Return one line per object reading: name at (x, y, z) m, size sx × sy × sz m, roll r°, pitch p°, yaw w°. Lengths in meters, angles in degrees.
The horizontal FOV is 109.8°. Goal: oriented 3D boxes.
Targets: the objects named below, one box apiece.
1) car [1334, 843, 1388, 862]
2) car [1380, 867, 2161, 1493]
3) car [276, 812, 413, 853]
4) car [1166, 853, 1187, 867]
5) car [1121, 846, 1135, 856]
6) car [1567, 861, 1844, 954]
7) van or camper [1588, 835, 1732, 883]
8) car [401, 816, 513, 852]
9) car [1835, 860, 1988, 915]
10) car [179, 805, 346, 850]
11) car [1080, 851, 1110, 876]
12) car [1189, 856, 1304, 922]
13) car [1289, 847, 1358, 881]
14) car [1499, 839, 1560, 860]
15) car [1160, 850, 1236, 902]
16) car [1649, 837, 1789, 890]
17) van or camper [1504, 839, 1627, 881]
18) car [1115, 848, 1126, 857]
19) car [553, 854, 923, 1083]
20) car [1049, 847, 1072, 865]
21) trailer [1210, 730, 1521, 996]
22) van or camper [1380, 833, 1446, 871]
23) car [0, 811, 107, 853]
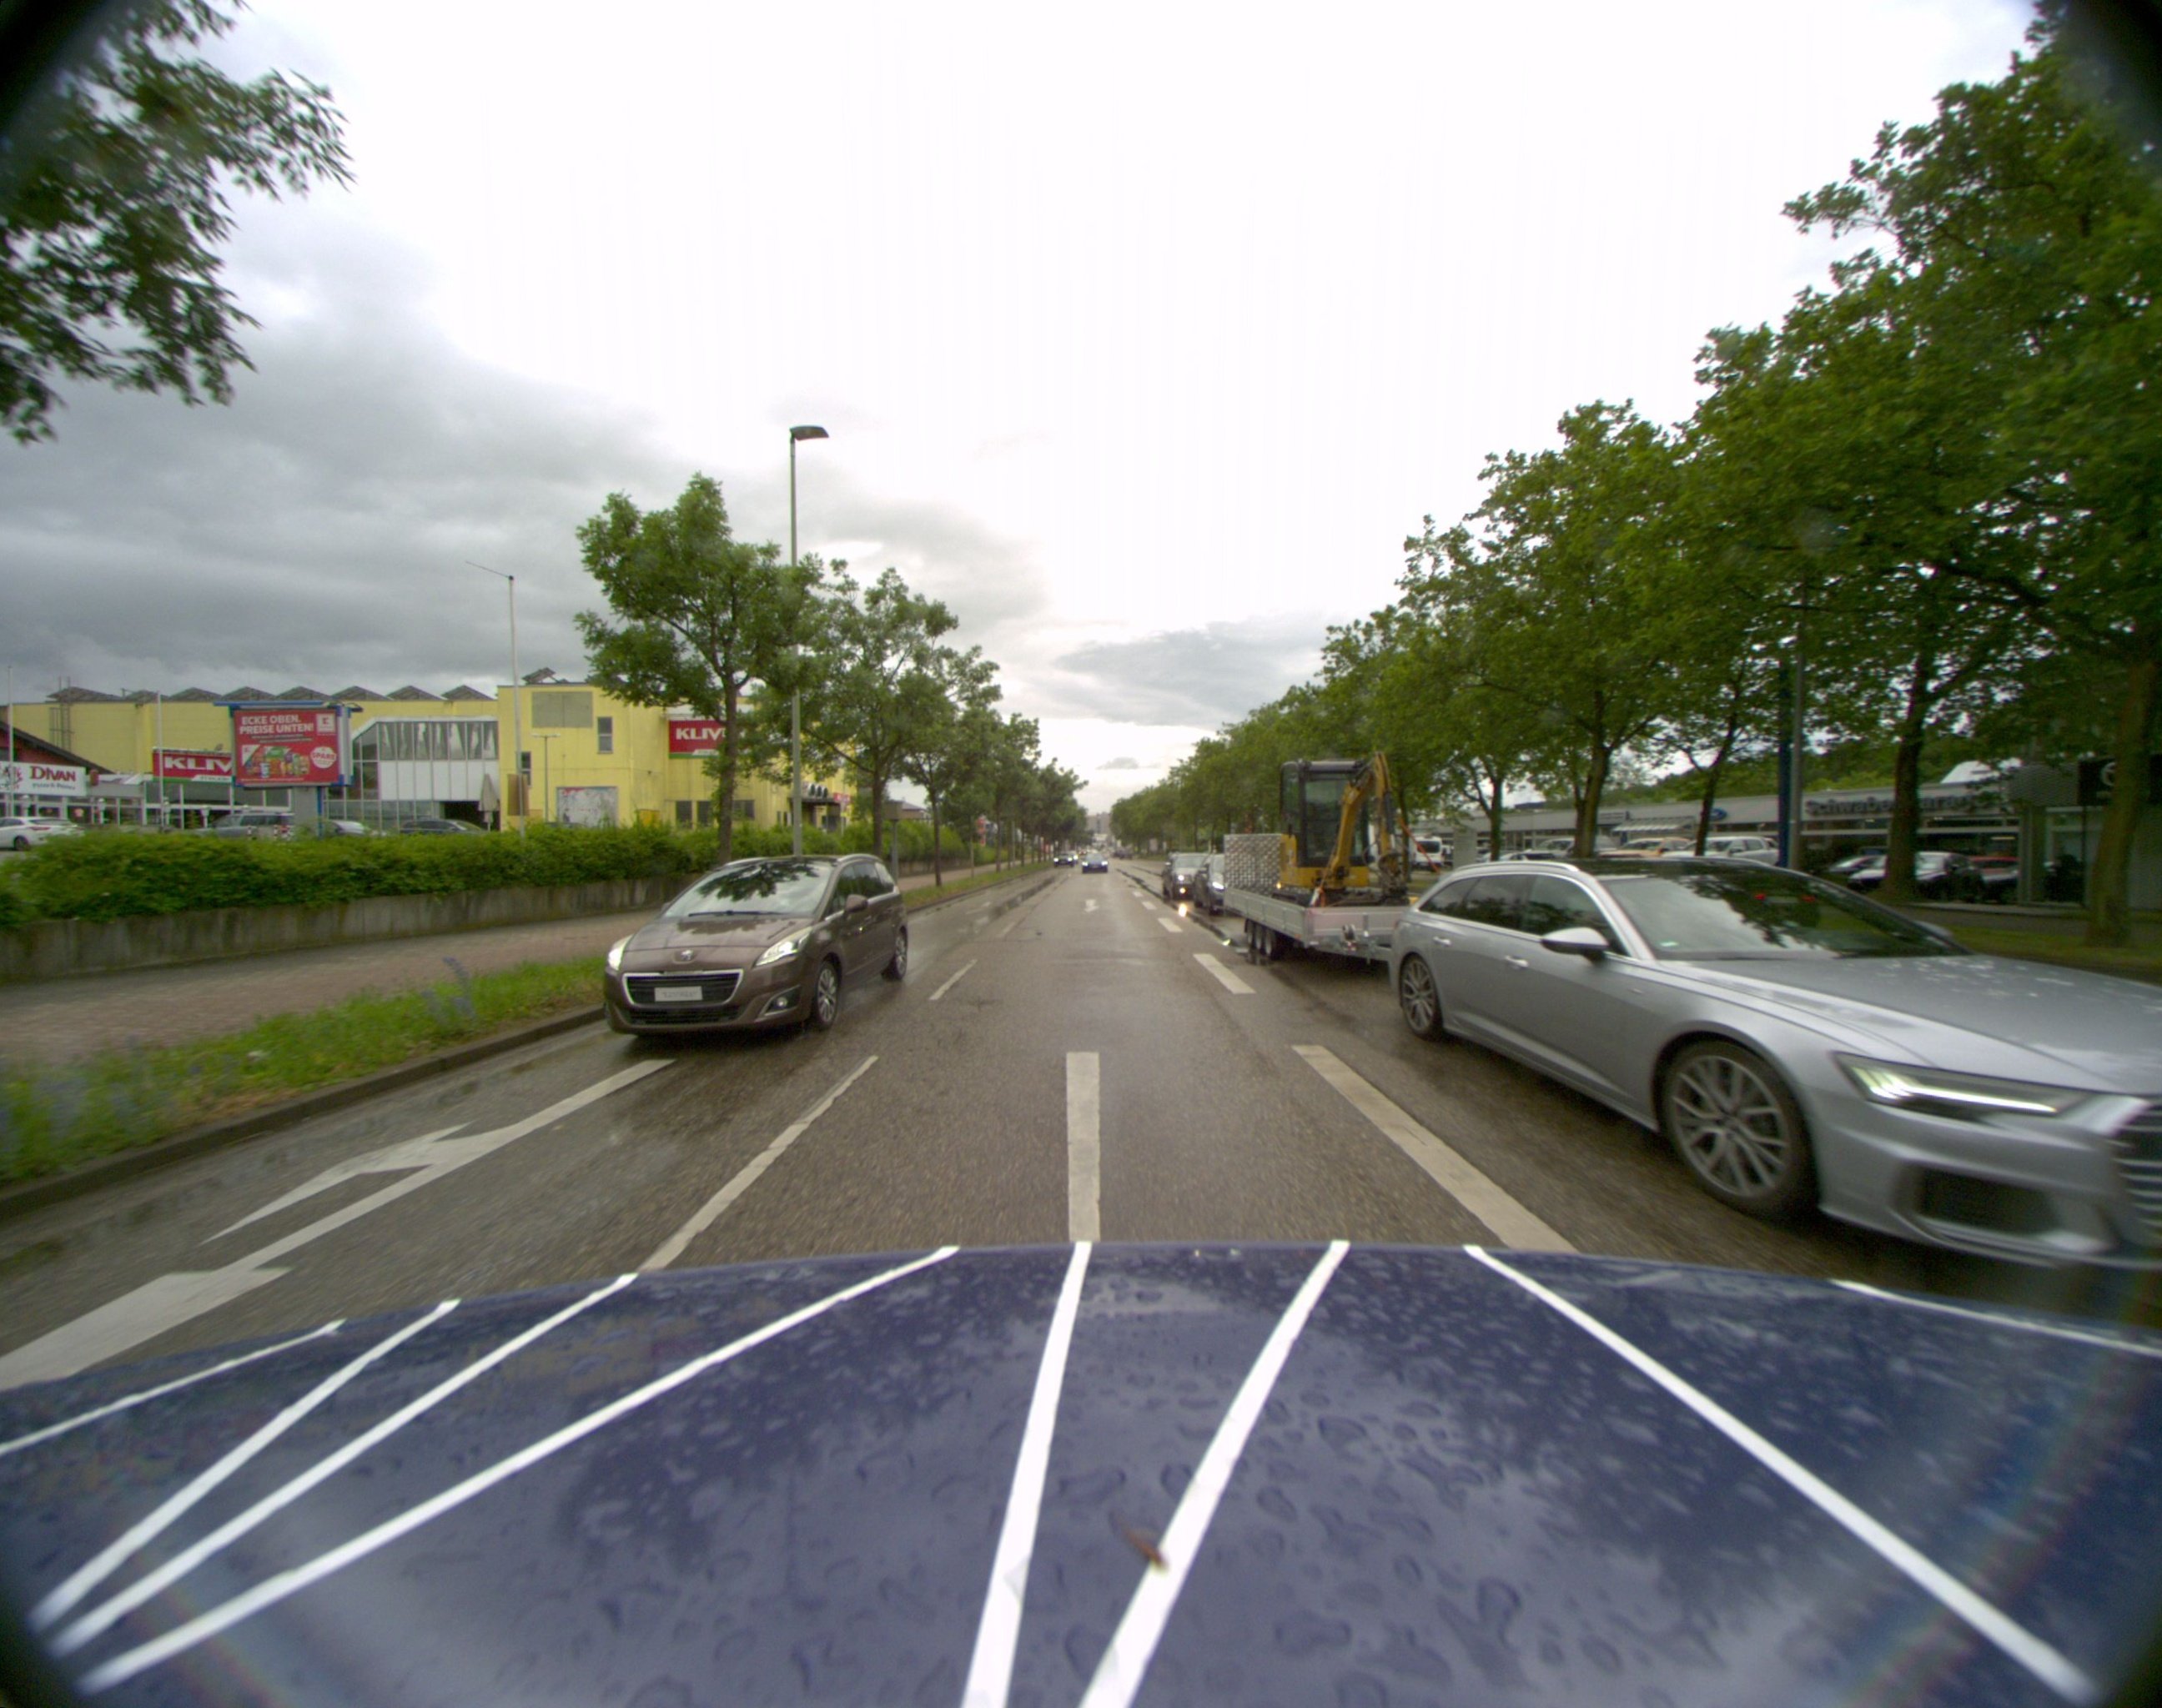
car at (30.406, -0.195, 82.612) m, size 5.058 × 2.002 × 2.129 m, roll 0°, pitch 1°, yaw -1°
car at (3.480, 0.865, 4.288) m, size 1.770 × 1.450 × 4.780 m, roll 0°, pitch 1°, yaw 1°
car at (-32.174, -0.916, 33.276) m, size 3.997 × 1.768 × 2.000 m, roll 0°, pitch 1°, yaw -1°
car at (10.605, 0.624, 84.298) m, size 1.741 × 1.421 × 4.537 m, roll 0°, pitch 1°, yaw 0°
car at (7.383, -0.490, 119.088) m, size 1.671 × 1.454 × 4.179 m, roll 0°, pitch 1°, yaw -3°
car at (11.465, 0.886, 14.401) m, size 1.715 × 1.375 × 4.173 m, roll 2°, pitch 1°, yaw -1°
van or camper at (23.540, 0.156, 30.877) m, size 5.381 × 1.760 × 2.100 m, roll -1°, pitch 4°, yaw -22°
car at (-31.661, -0.984, 38.631) m, size 3.997 × 1.768 × 2.000 m, roll 0°, pitch 1°, yaw -1°
car at (24.930, 0.926, 22.805) m, size 4.474 × 1.442 × 1.995 m, roll -1°, pitch 1°, yaw -27°
car at (-32.325, -1.018, 30.118) m, size 4.382 × 1.729 × 2.000 m, roll 0°, pitch 1°, yaw -1°
car at (1.024, 0.651, 54.566) m, size 1.998 × 1.633 × 4.360 m, roll -2°, pitch 1°, yaw 2°
car at (3.982, 0.779, 19.035) m, size 1.998 × 1.420 × 4.554 m, roll 1°, pitch 0°, yaw 2°
car at (11.453, 0.439, 36.166) m, size 1.715 × 1.456 × 4.083 m, roll -1°, pitch 1°, yaw -4°
car at (41.846, -0.476, 70.899) m, size 5.357 × 1.827 × 2.385 m, roll -2°, pitch 2°, yaw -26°
car at (3.816, 0.649, 25.614) m, size 1.912 × 1.569 × 4.880 m, roll 0°, pitch 1°, yaw 1°
car at (23.184, 0.289, 27.604) m, size 4.473 × 1.805 × 1.996 m, roll -1°, pitch 1°, yaw -22°
van or camper at (22.321, 0.237, 35.007) m, size 5.306 × 1.811 × 2.262 m, roll -1°, pitch 1°, yaw -24°
car at (7.131, -0.306, 138.138) m, size 1.767 × 1.522 × 3.858 m, roll 1°, pitch 1°, yaw 1°
car at (-3.103, 0.886, 8.088) m, size 1.731 × 1.615 × 4.470 m, roll -4°, pitch 1°, yaw 1°
car at (-1.998, 0.173, 75.852) m, size 1.998 × 1.633 × 4.360 m, roll -2°, pitch 1°, yaw 2°
trailer at (3.552, 0.073, 11.007) m, size 2.379 × 2.880 × 5.544 m, roll 0°, pitch 1°, yaw 0°
van or camper at (23.224, -0.176, 53.499) m, size 1.998 × 2.456 × 6.401 m, roll -2°, pitch 1°, yaw 2°
car at (-44.776, -0.917, 32.193) m, size 4.382 × 1.729 × 2.000 m, roll 0°, pitch 1°, yaw 0°
